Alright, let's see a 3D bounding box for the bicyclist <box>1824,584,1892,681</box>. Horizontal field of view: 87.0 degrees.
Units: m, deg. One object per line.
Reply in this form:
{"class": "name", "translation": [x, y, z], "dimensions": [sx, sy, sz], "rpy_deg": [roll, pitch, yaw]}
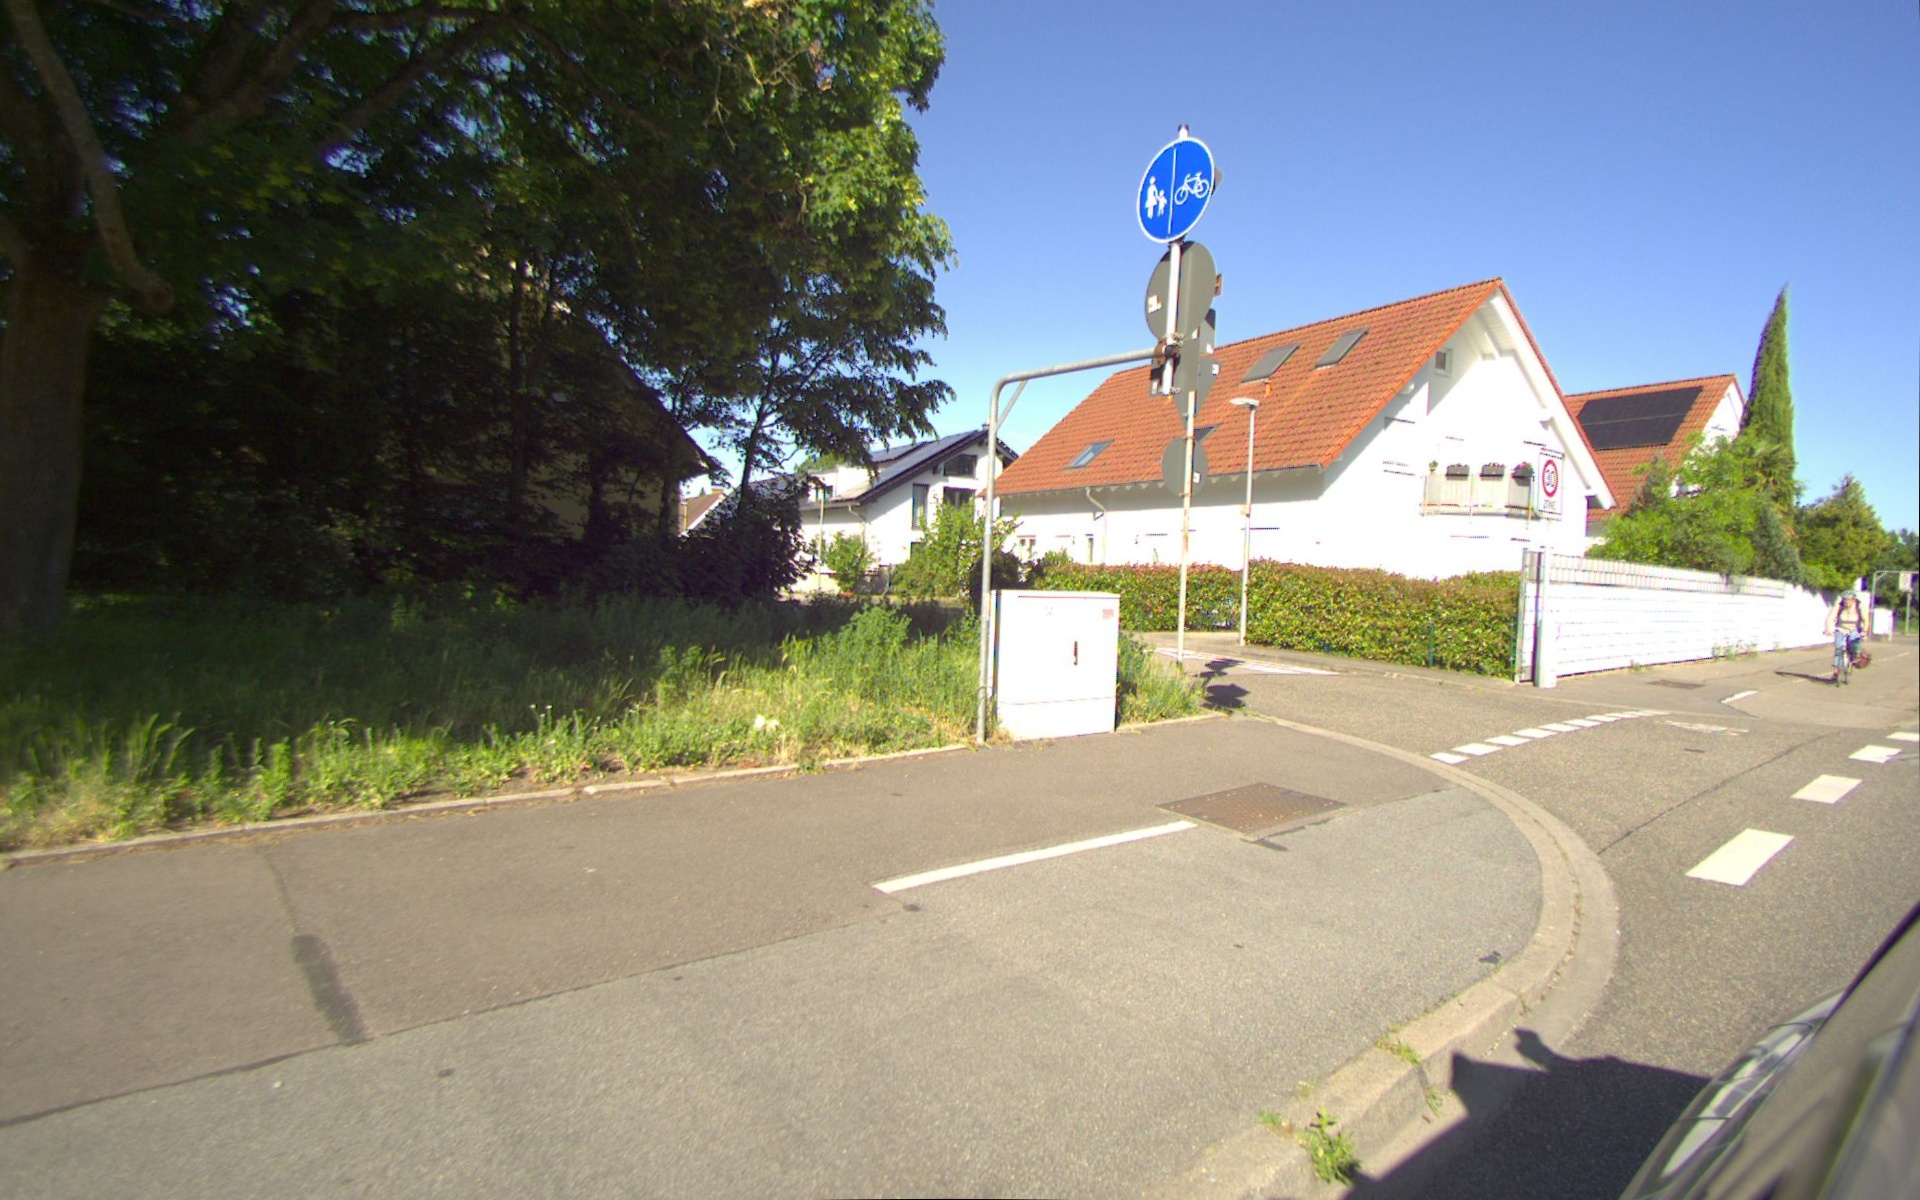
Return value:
{"class": "bicyclist", "translation": [16.058, 0.569, 18.095], "dimensions": [0.964, 1.652, 0.632], "rpy_deg": [1, 4, -39]}

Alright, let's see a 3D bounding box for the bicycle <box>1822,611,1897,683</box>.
{"class": "bicycle", "translation": [16.128, 0.827, 18.133], "dimensions": [2.102, 1.168, 0.576], "rpy_deg": [1, 4, -39]}

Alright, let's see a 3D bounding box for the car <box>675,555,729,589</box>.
{"class": "car", "translation": [-12.426, -1.315, 48.566], "dimensions": [1.899, 1.538, 4.236], "rpy_deg": [0, 0, -23]}
